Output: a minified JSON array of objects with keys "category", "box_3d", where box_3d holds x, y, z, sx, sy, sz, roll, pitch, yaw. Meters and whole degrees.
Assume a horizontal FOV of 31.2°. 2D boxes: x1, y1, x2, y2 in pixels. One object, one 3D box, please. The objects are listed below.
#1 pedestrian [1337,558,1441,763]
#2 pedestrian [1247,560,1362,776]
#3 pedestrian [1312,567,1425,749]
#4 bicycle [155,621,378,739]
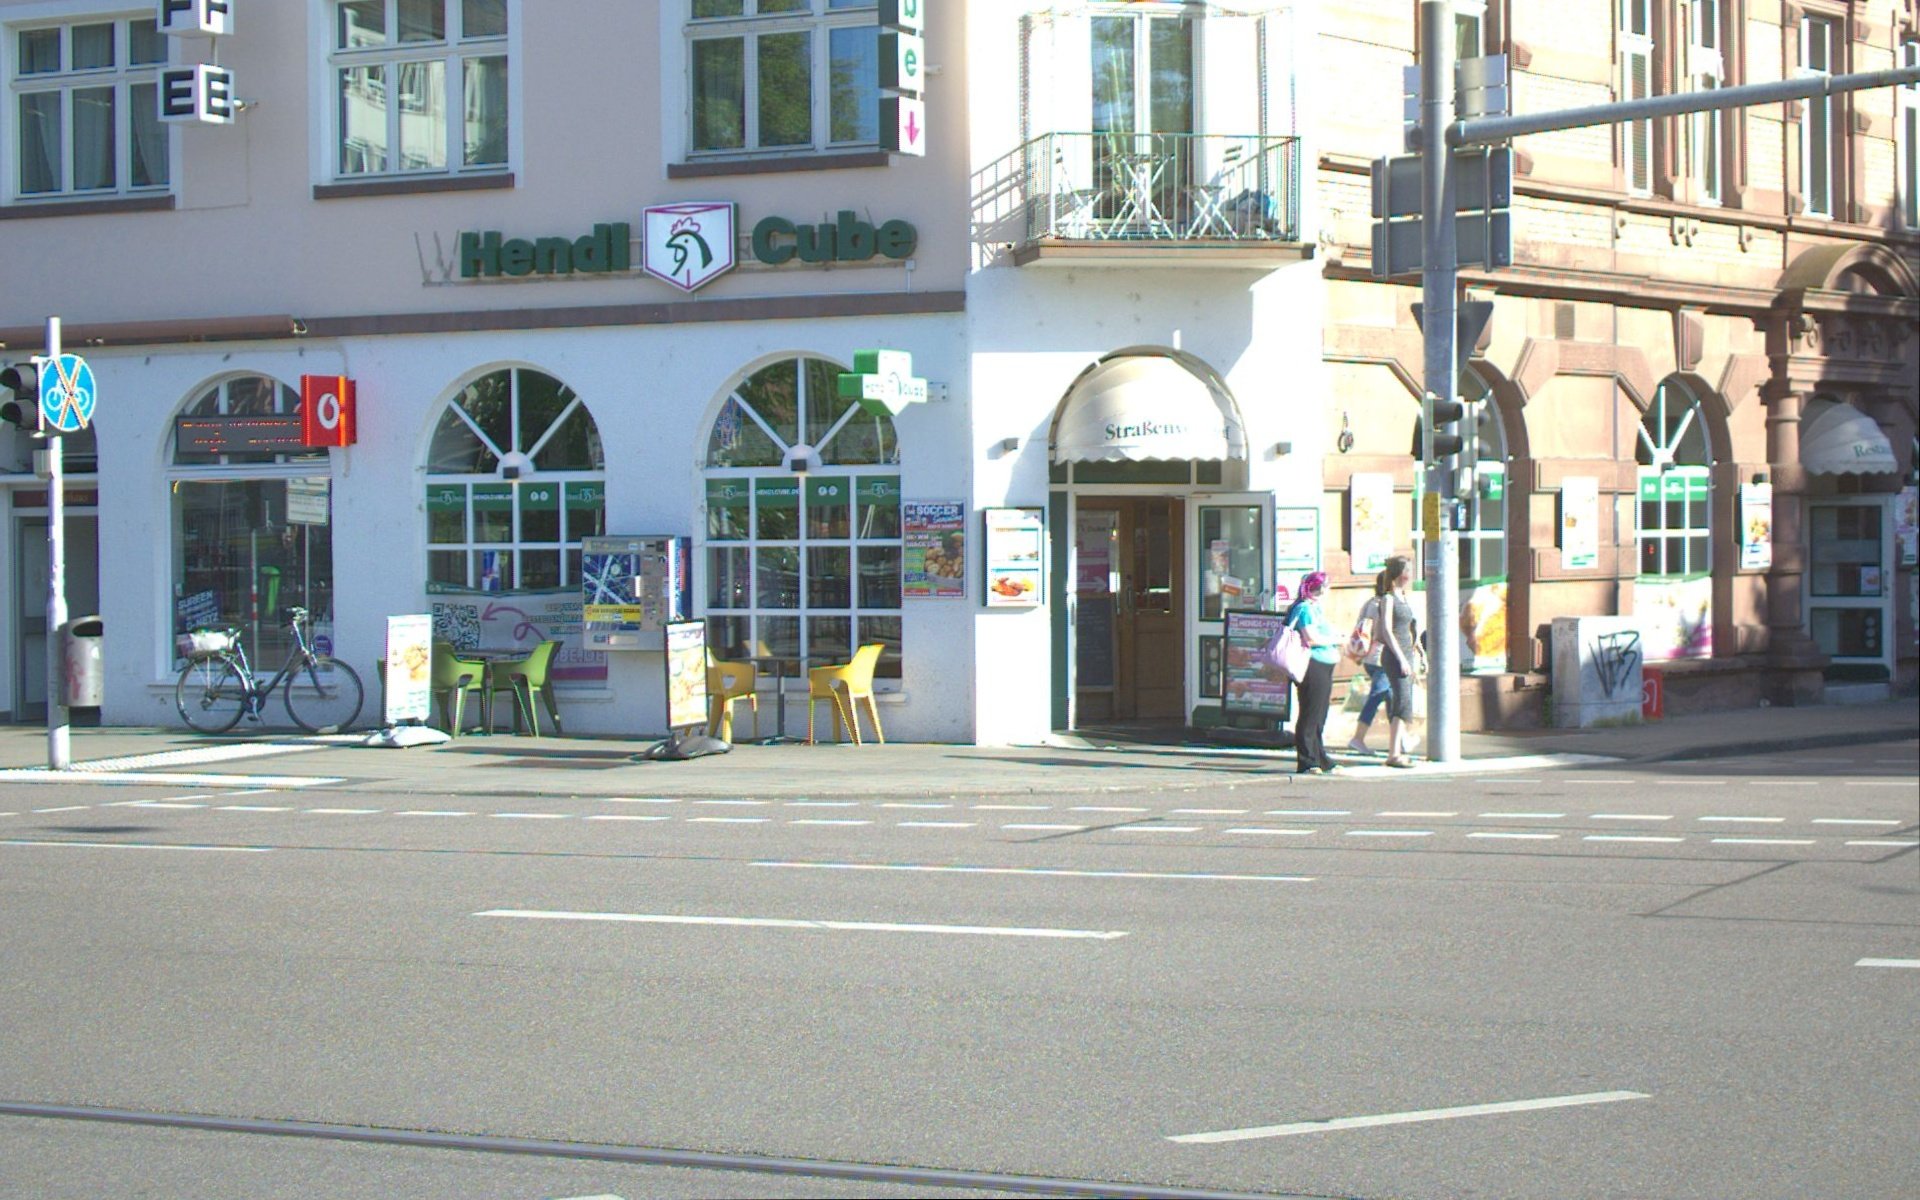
[{"category":"pedestrian","box_3d":[3.482,0.479,27.900,0.632,1.636,0.551,0,1,38]},{"category":"pedestrian","box_3d":[2.663,0.513,26.566,0.677,1.636,0.577,0,1,38]},{"category":"pedestrian","box_3d":[3.467,0.482,29.205,0.658,1.519,0.695,-1,1,-33]},{"category":"bicycle","box_3d":[-6.391,0.729,31.678,1.944,1.063,0.583,0,1,14]}]
